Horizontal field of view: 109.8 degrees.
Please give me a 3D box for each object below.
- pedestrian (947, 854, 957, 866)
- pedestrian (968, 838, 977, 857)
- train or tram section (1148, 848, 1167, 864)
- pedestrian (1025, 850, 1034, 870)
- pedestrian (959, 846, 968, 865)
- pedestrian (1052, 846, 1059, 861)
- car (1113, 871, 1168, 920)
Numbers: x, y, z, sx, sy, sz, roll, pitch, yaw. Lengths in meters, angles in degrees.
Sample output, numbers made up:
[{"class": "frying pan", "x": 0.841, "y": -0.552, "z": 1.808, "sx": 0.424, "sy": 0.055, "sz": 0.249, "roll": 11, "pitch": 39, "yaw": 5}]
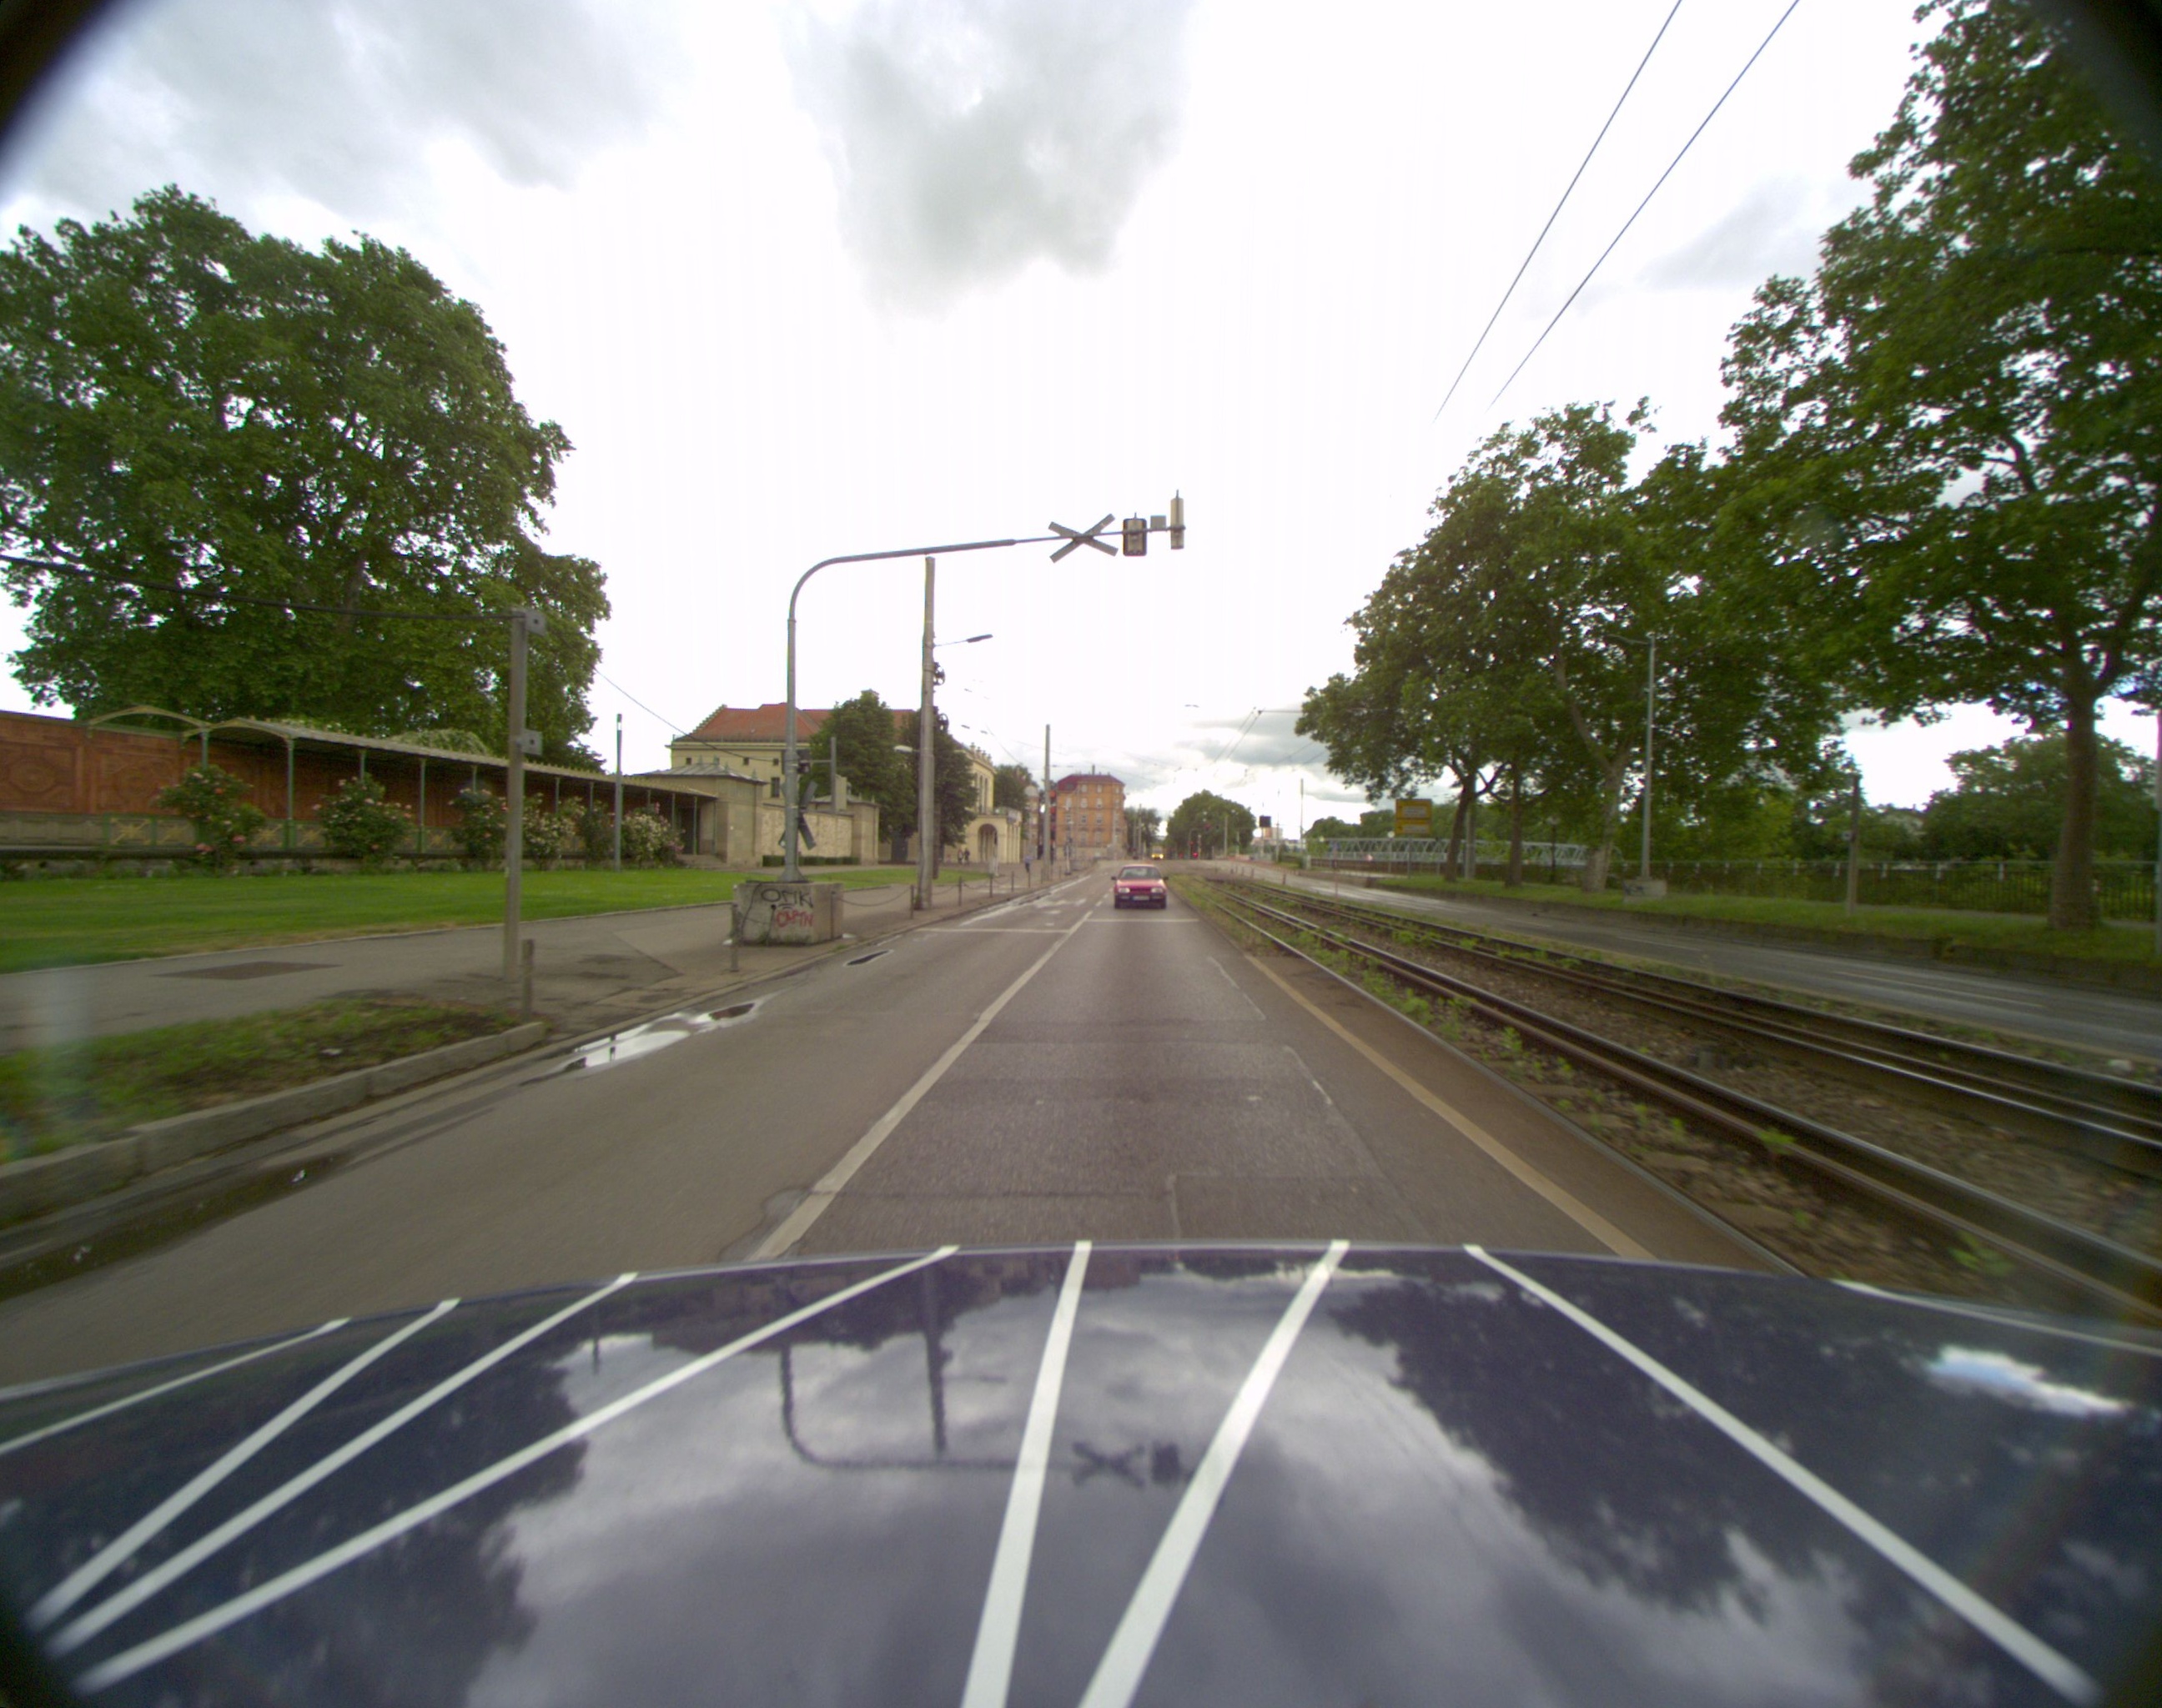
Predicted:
[{"class": "pedestrian", "x": -11.862, "y": 0.548, "z": 69.849, "sx": 0.760, "sy": 0.995, "sz": 0.595, "roll": 1, "pitch": 1, "yaw": -30}, {"class": "pedestrian", "x": -9.985, "y": -0.564, "z": 69.737, "sx": 0.597, "sy": 1.689, "sz": 0.790, "roll": 1, "pitch": 1, "yaw": 4}, {"class": "train or tram section", "x": 18.462, "y": 0.430, "z": 184.525, "sx": 3.738, "sy": 3.346, "sz": 17.559, "roll": 2, "pitch": 1, "yaw": 3}, {"class": "pedestrian", "x": -4.493, "y": 0.521, "z": 66.239, "sx": 0.672, "sy": 1.757, "sz": 0.937, "roll": 1, "pitch": 1, "yaw": 4}, {"class": "pedestrian", "x": -10.765, "y": 0.139, "z": 69.764, "sx": 0.596, "sy": 1.782, "sz": 0.809, "roll": 1, "pitch": 1, "yaw": 4}, {"class": "pedestrian", "x": -3.092, "y": -0.068, "z": 91.541, "sx": 0.672, "sy": 1.757, "sz": 0.937, "roll": 1, "pitch": 1, "yaw": 4}, {"class": "car", "x": 1.972, "y": 1.321, "z": 25.502, "sx": 1.680, "sy": 1.433, "sz": 4.121, "roll": -1, "pitch": 0, "yaw": 4}]
